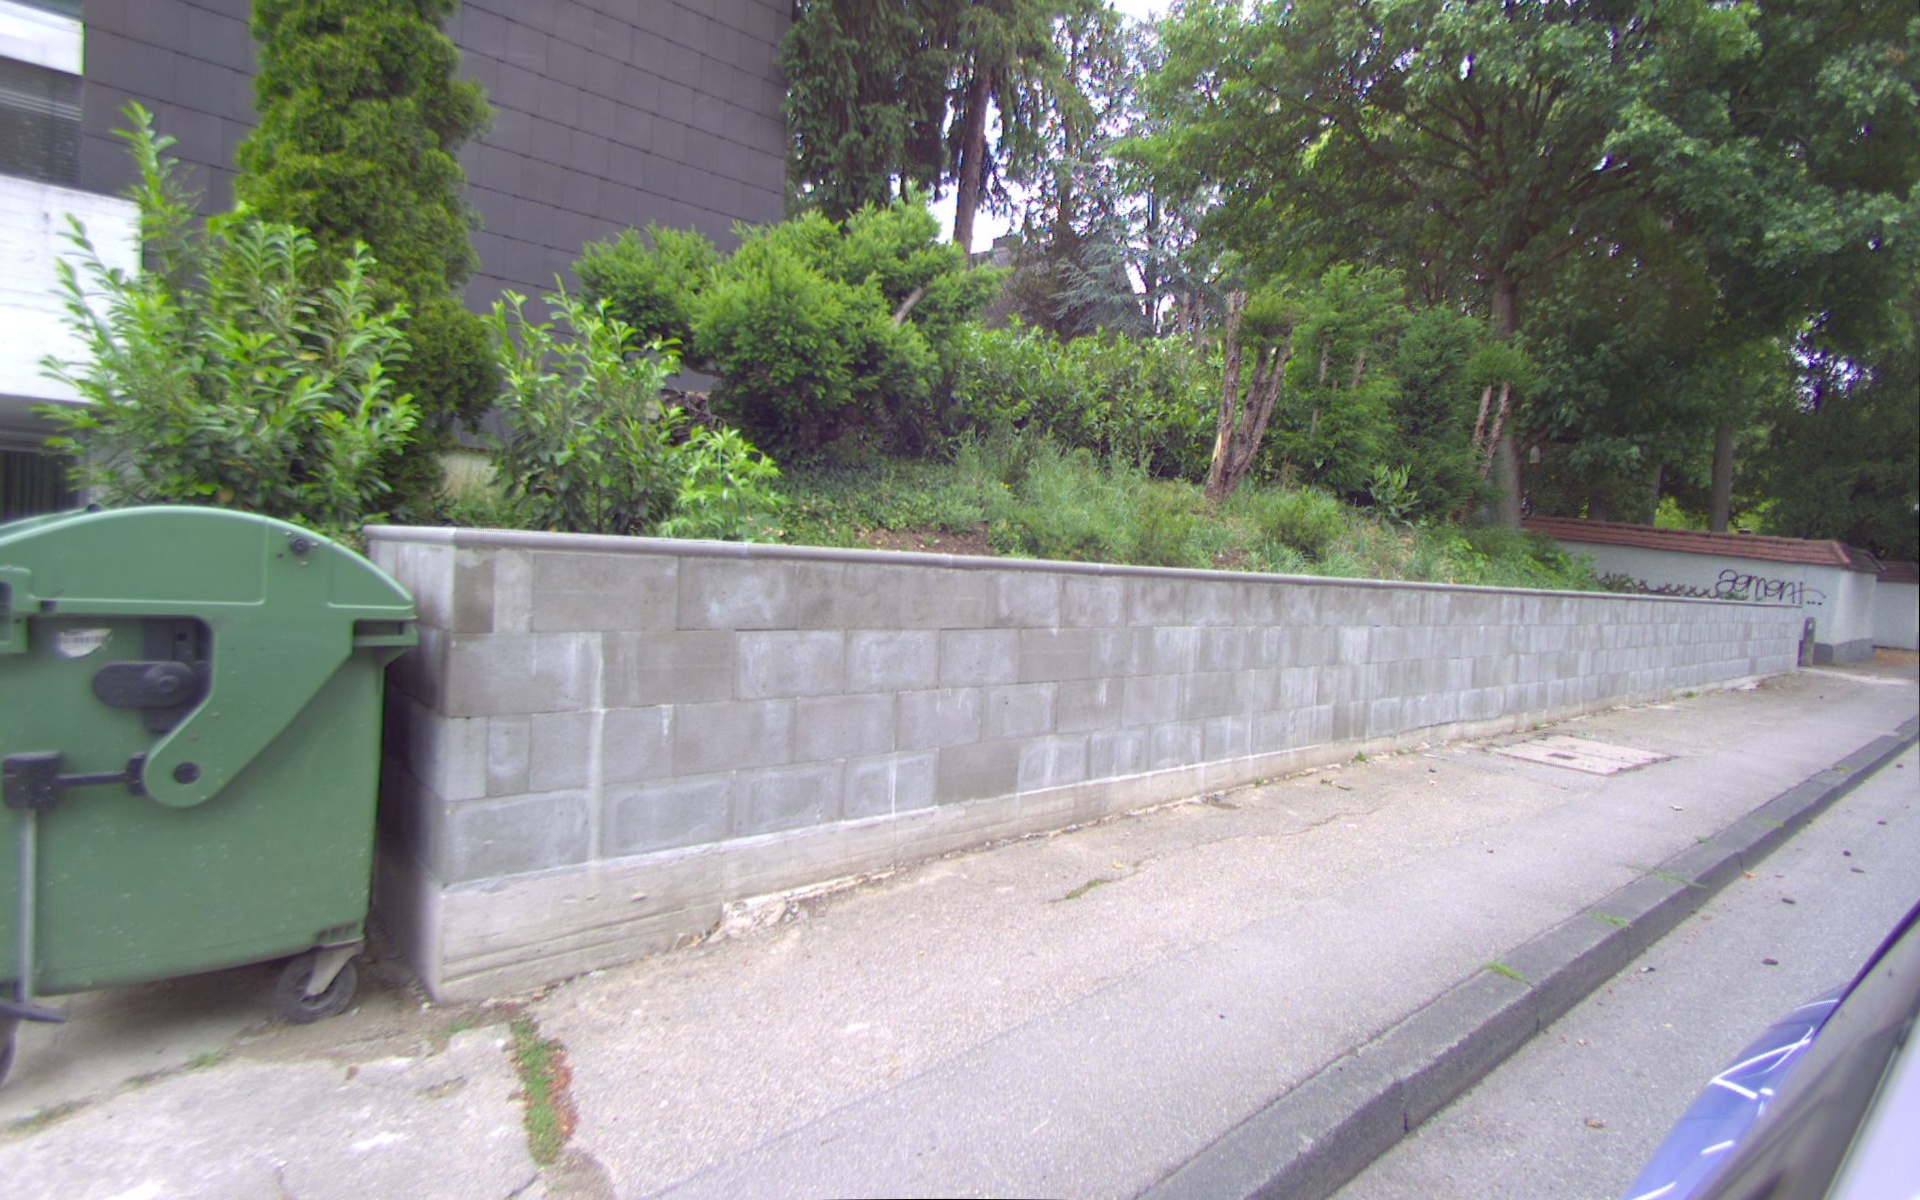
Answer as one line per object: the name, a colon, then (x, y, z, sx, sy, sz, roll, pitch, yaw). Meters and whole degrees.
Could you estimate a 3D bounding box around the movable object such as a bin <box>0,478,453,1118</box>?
movable object such as a bin: (-2.327, 0.410, 3.028, 1.160, 1.468, 1.303, 0, 4, -40)
